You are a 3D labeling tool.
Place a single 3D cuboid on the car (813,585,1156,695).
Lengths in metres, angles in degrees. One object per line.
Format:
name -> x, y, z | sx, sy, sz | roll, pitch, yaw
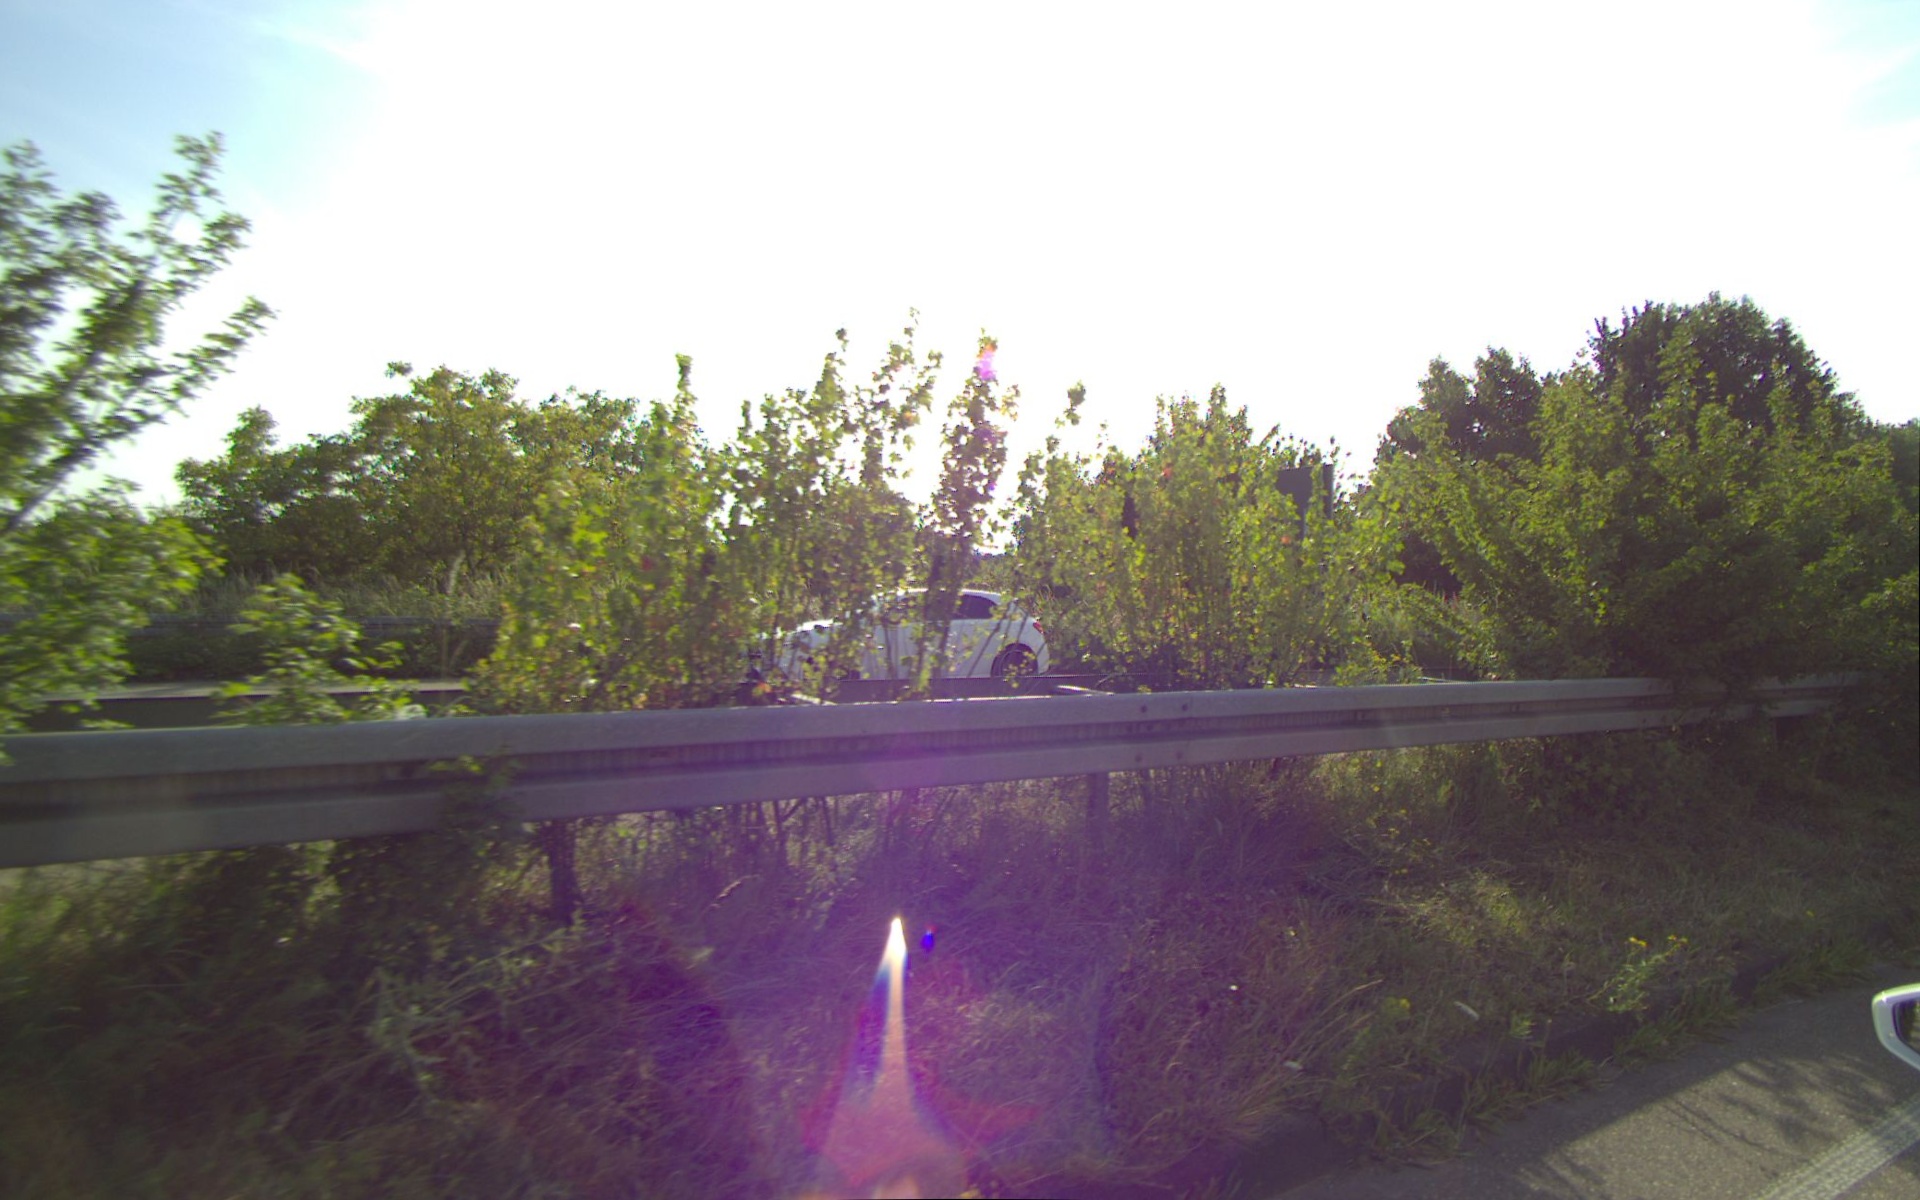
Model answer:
car -> 0.407, 0.549, 14.723 | 4.768, 1.405, 1.769 | 1, 0, -27
